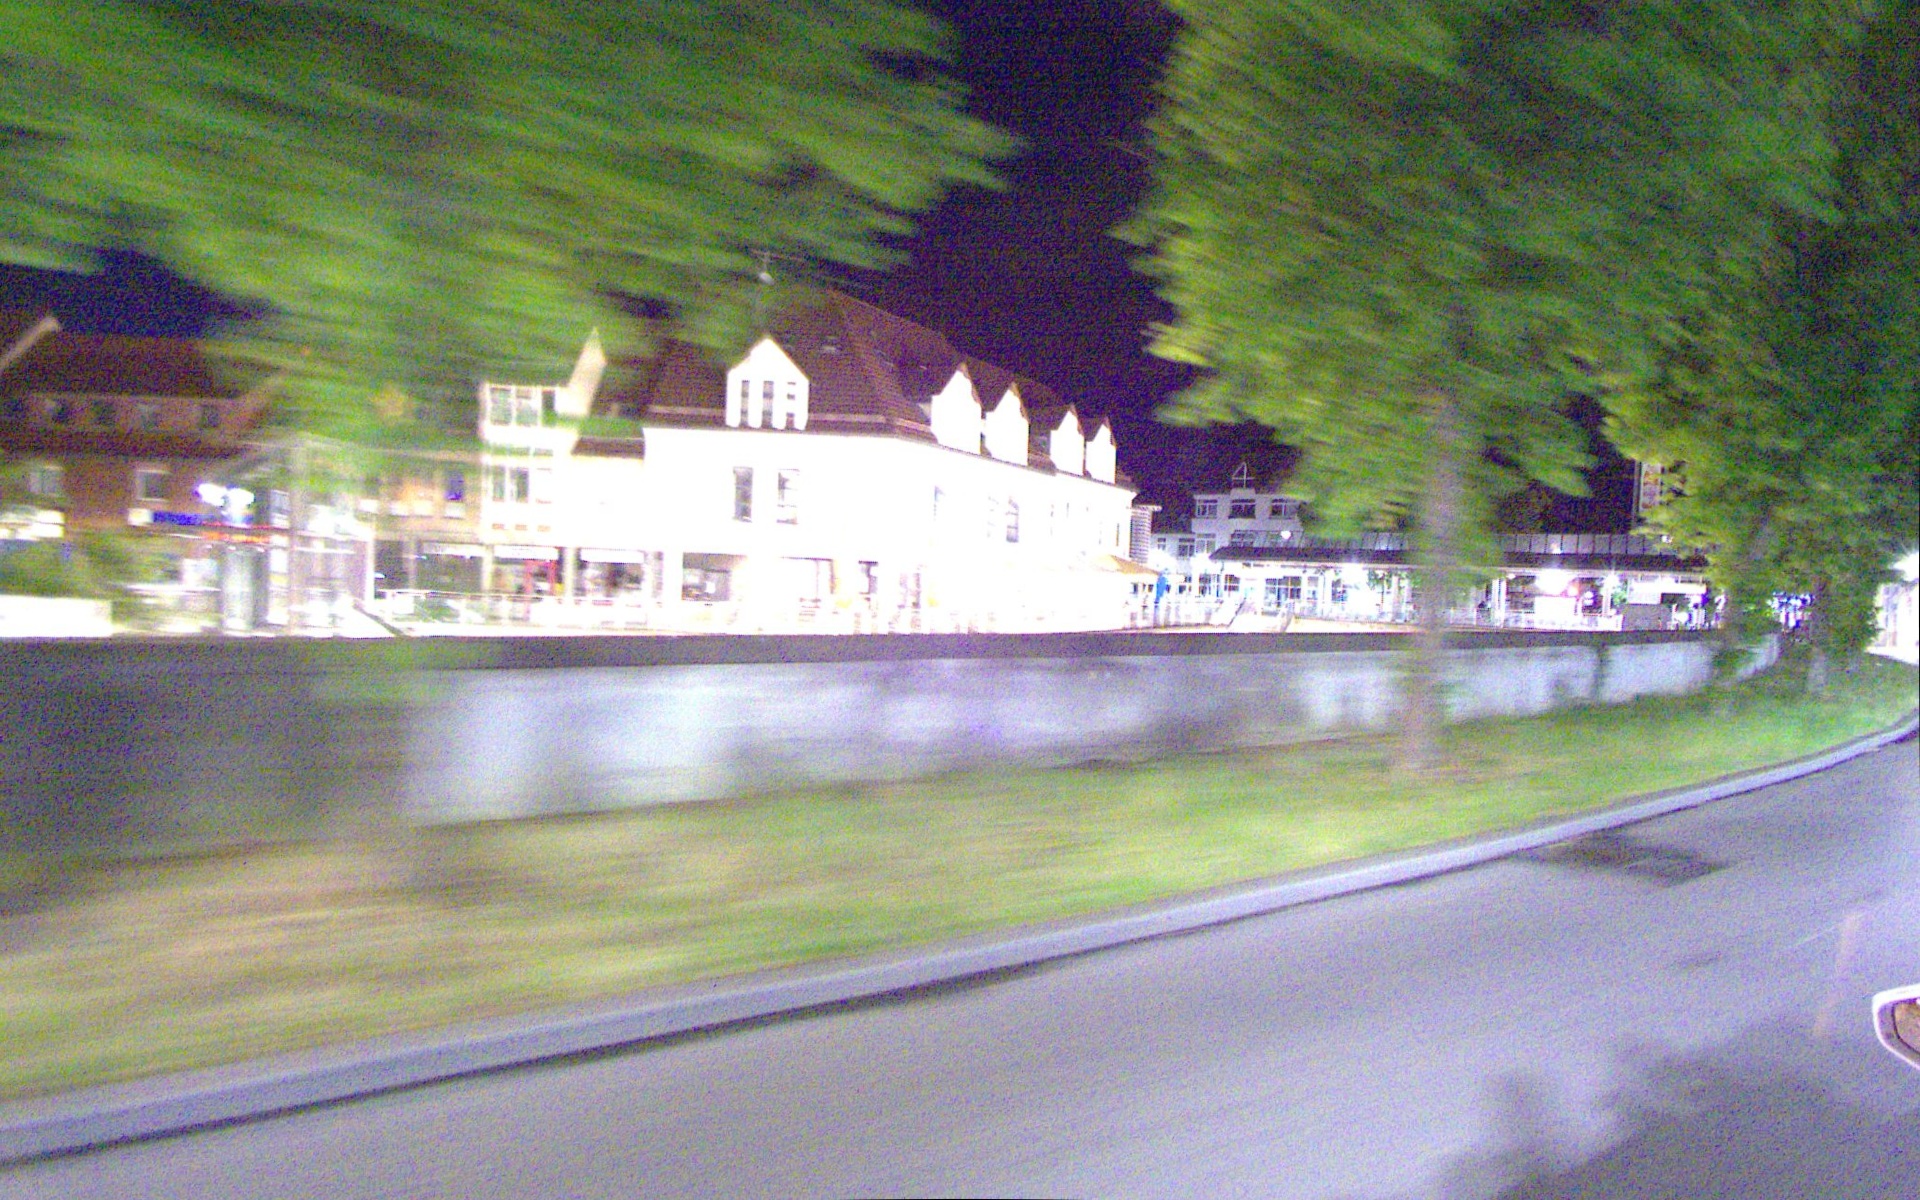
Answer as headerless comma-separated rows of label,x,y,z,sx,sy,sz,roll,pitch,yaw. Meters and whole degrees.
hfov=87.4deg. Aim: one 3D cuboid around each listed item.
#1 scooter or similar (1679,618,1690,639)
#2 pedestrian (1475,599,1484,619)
scooter or similar,41.867,1.657,58.053,0.423,1.150,1.002,1,1,29
pedestrian,40.243,0.673,77.821,0.451,1.566,0.481,0,1,-1
